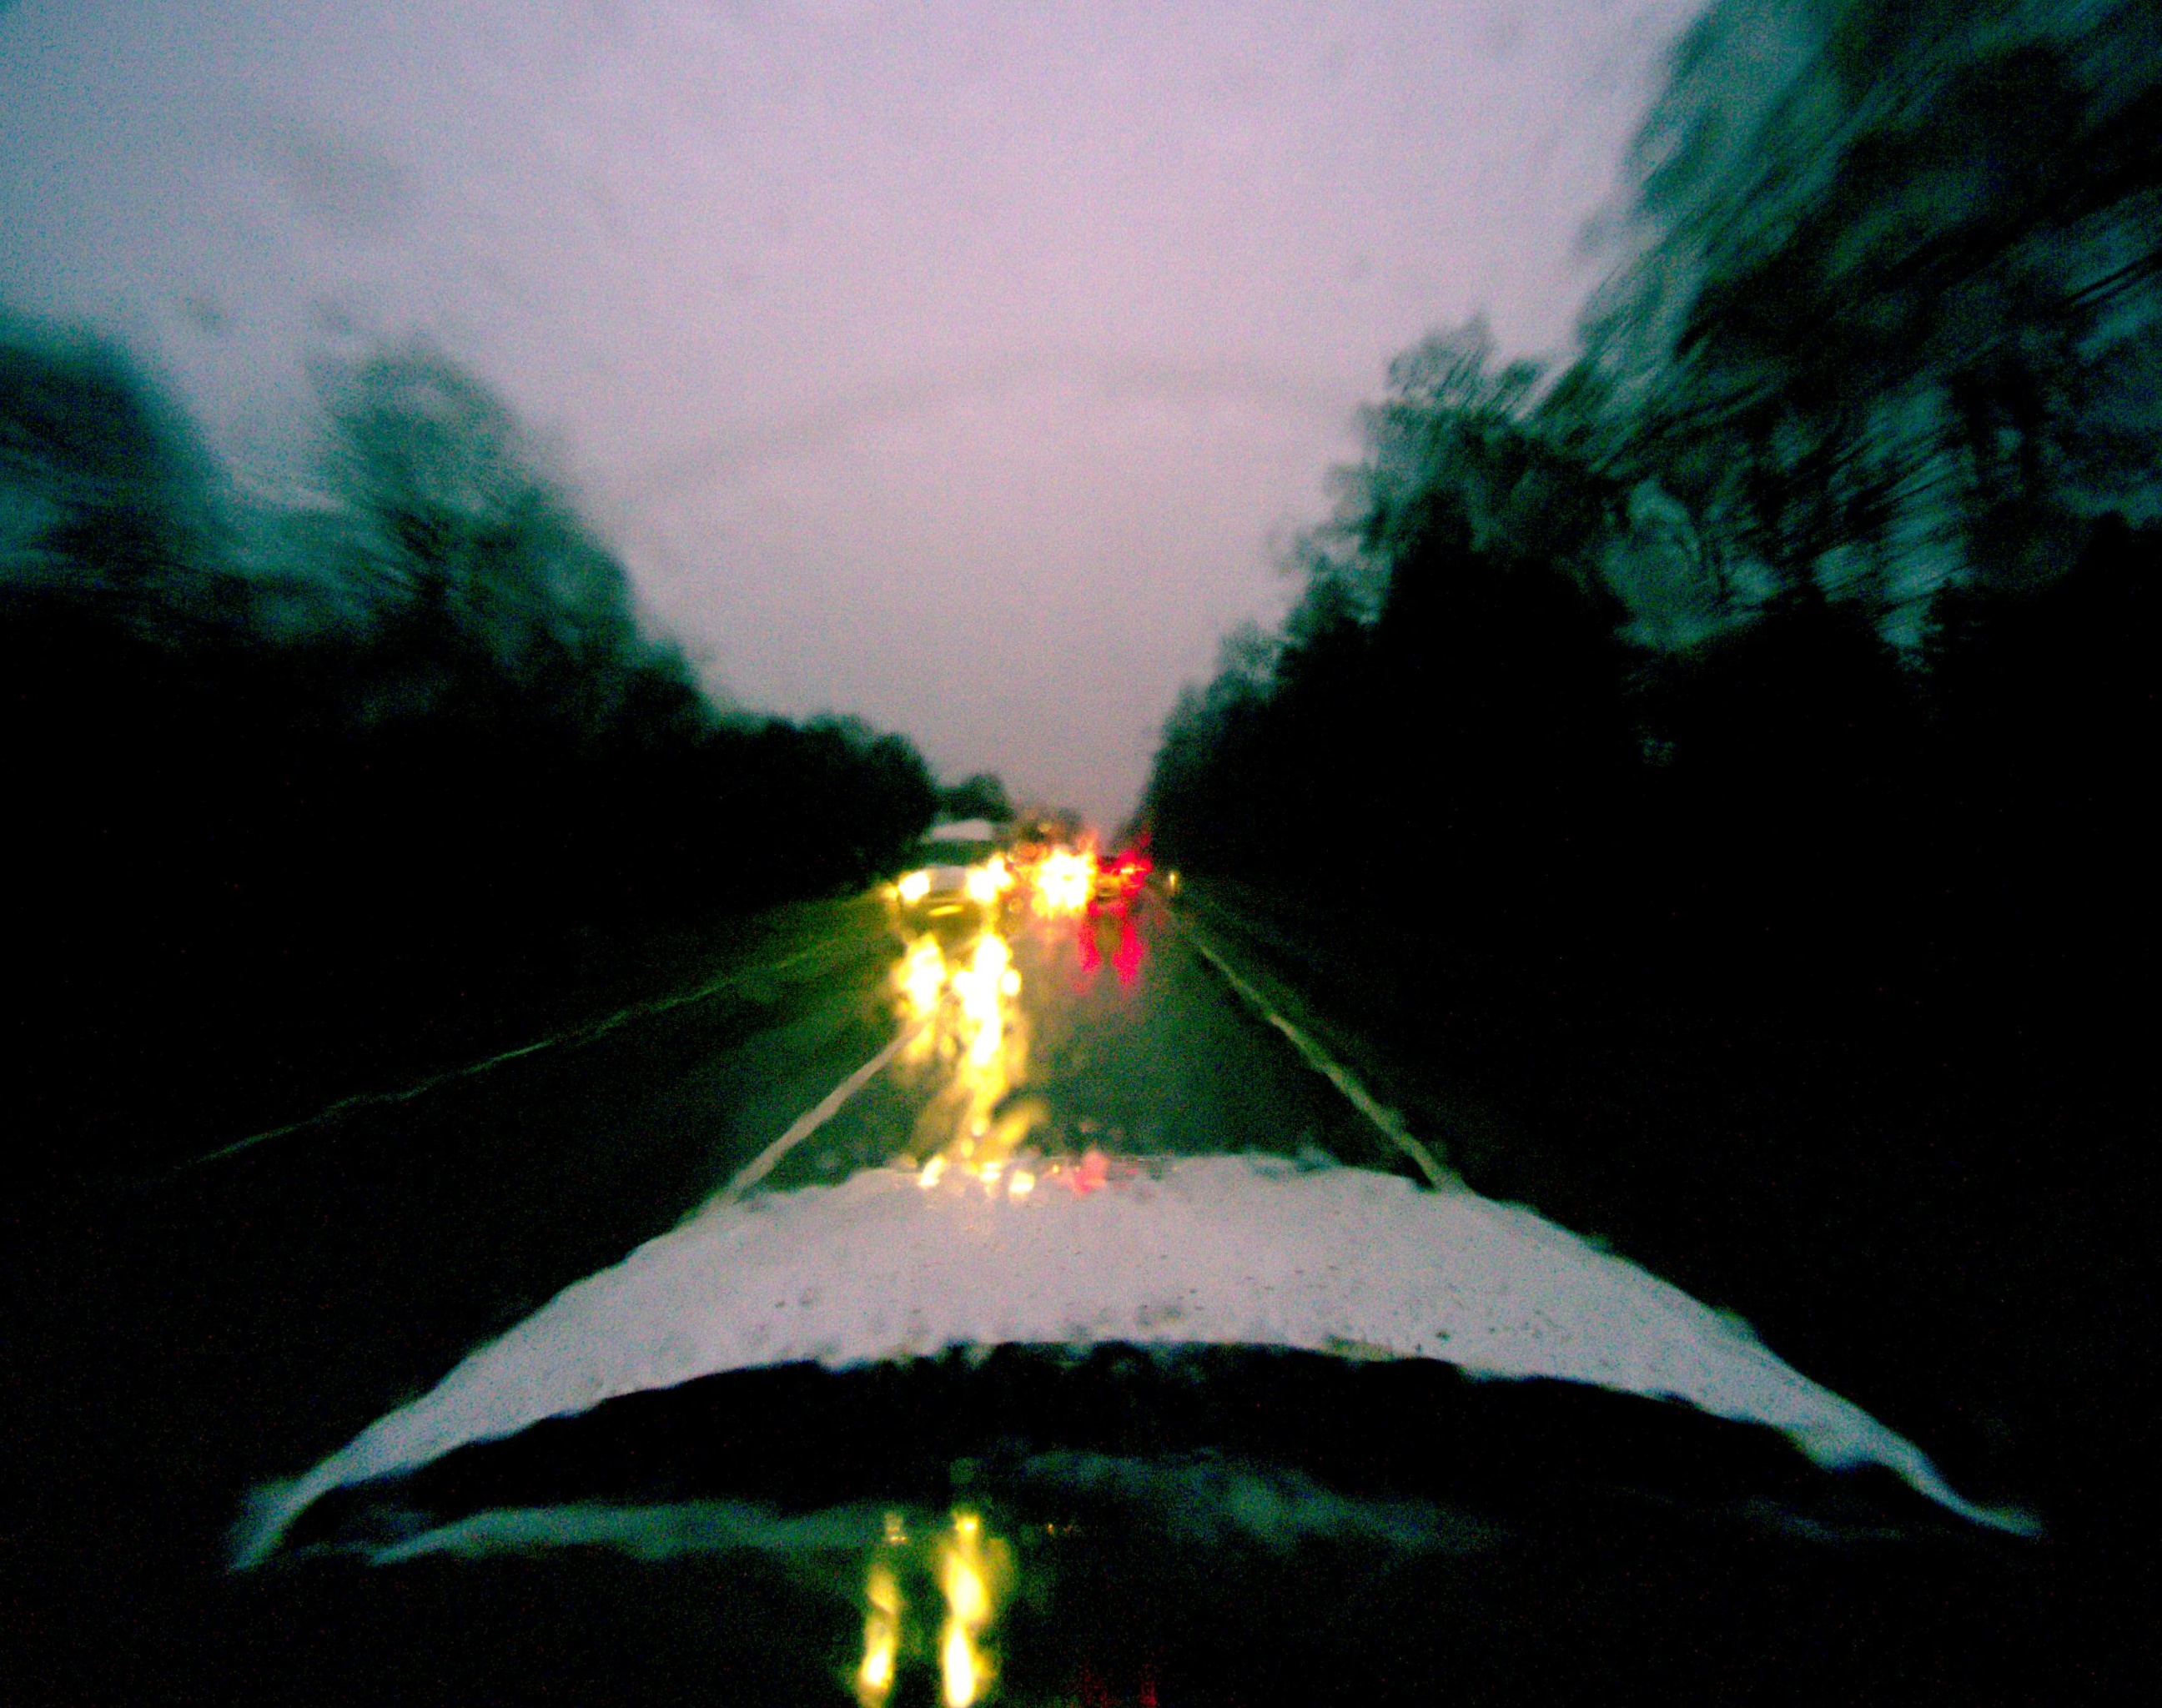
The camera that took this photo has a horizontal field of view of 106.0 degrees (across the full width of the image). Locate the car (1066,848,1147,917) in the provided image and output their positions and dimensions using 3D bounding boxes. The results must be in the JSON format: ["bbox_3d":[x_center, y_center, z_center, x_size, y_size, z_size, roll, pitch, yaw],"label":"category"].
[{"bbox_3d":[0.754,0.789,24.463,2.190,1.878,4.828,0,-1,1],"label":"car"}]

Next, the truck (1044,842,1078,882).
[{"bbox_3d":[-1.392,0.582,59.900,2.095,2.771,6.874,0,0,2],"label":"truck"}]

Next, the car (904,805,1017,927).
[{"bbox_3d":[-3.085,0.313,22.374,2.067,2.811,6.652,-1,-1,0],"label":"car"}]
